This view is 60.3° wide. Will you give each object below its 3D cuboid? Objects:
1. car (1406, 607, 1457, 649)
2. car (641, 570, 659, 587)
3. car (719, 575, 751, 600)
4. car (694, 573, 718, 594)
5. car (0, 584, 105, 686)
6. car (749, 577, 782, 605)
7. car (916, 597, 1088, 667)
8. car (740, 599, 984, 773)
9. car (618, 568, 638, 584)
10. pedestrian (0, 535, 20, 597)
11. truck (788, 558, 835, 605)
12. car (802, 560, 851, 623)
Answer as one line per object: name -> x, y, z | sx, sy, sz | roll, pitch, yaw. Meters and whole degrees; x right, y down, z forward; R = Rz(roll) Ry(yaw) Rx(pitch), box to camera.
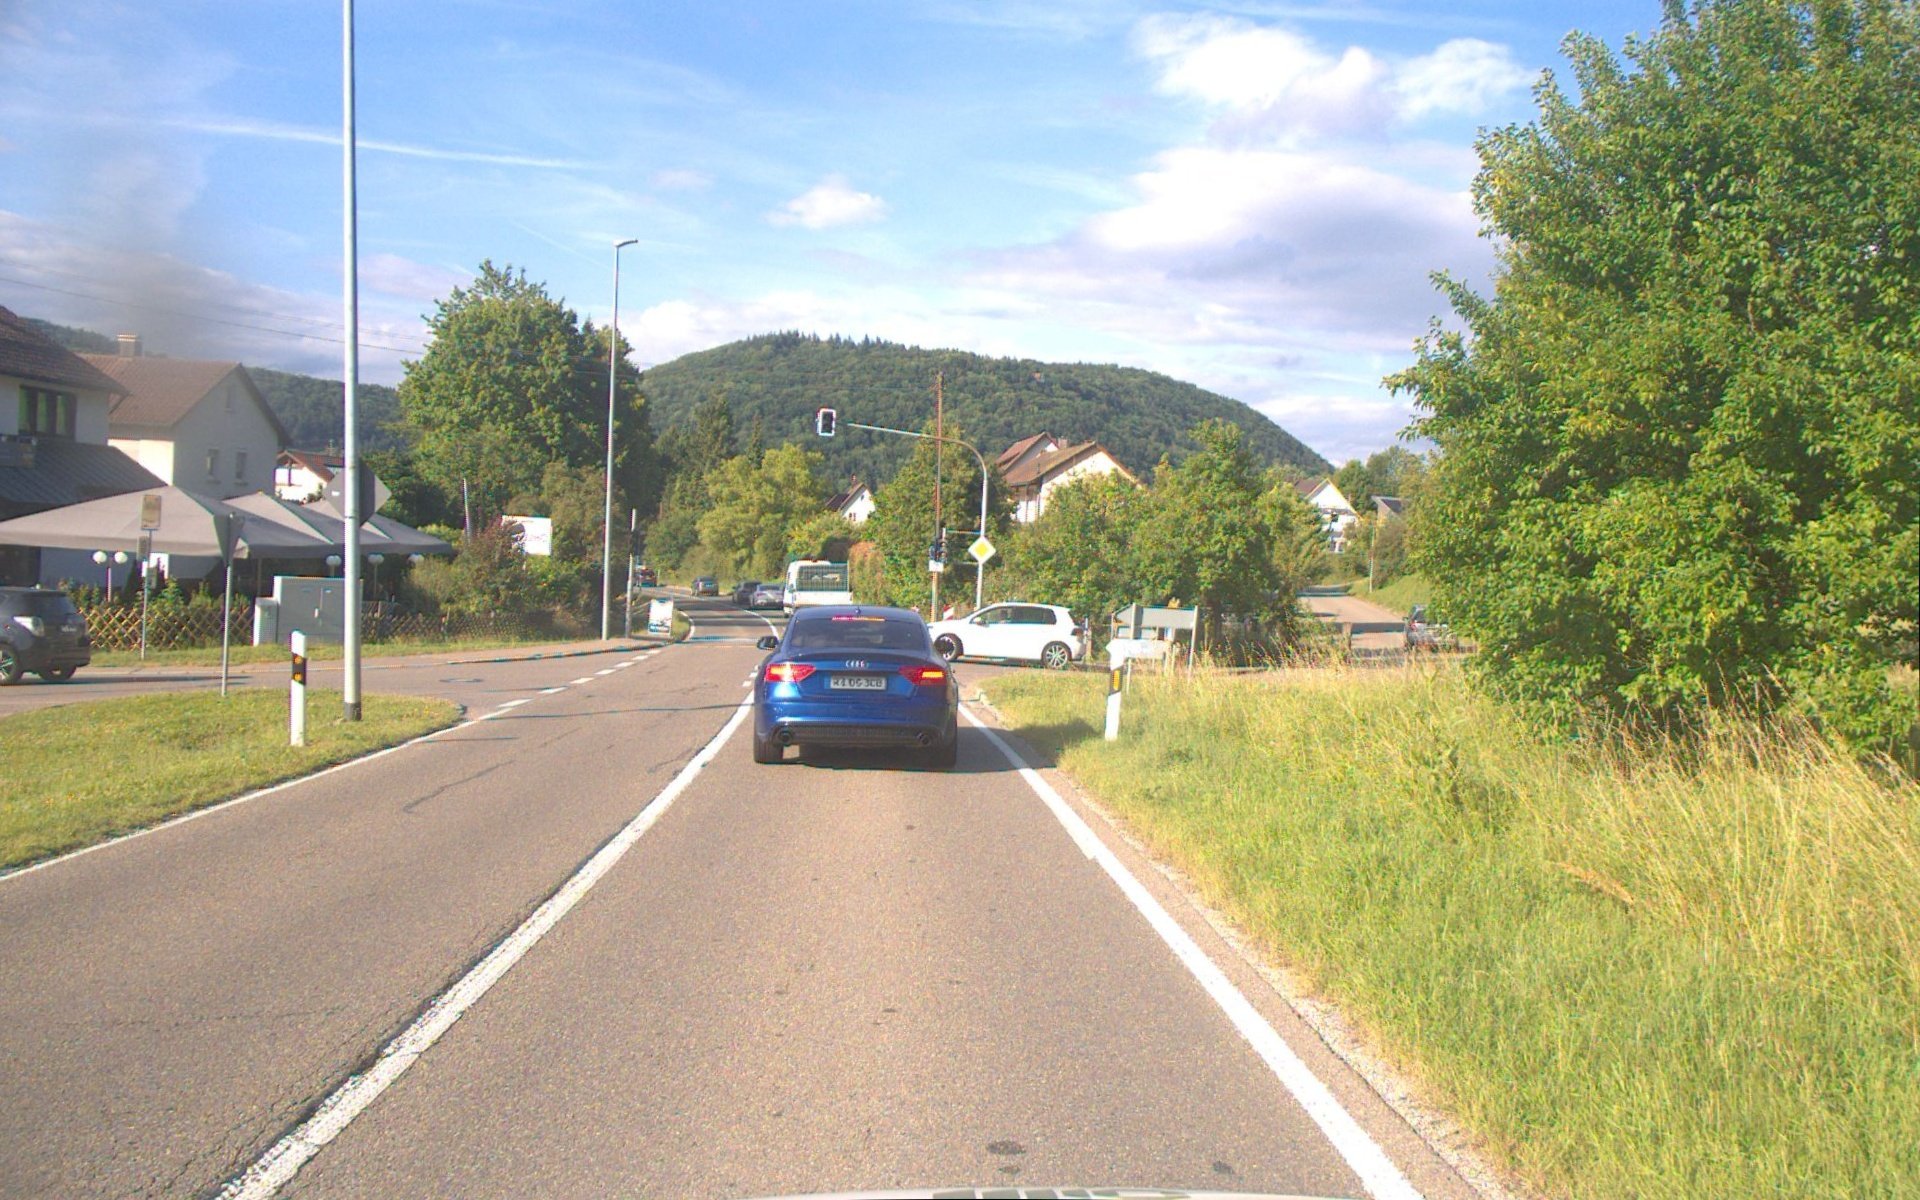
car -> 16.579, 0.979, 58.248 | 1.589, 1.414, 4.003 | 1, -1, 14
car -> -29.768, -2.057, 158.736 | 1.596, 1.604, 3.671 | 1, -1, -10
car -> -14.159, -0.759, 103.825 | 1.668, 1.516, 3.515 | 1, -1, -13
car -> -18.863, -1.203, 122.908 | 1.665, 1.516, 3.521 | 1, -1, -7
car -> -16.819, 0.557, 27.825 | 3.907, 1.668, 1.751 | 1, -1, -3
car -> -10.850, -0.490, 92.273 | 1.666, 1.516, 3.519 | 1, -1, -9
car -> 0.950, 0.748, 39.083 | 3.963, 1.534, 1.854 | 1, -1, -2
car -> -0.774, 0.725, 15.498 | 1.757, 1.412, 4.002 | 0, -1, 4
car -> -34.079, -2.462, 169.780 | 1.657, 1.463, 3.665 | 1, -1, -7
pedestrian -> -24.159, -0.849, 41.651 | 0.596, 1.529, 0.590 | 1, -1, 0
truck -> -6.731, -0.781, 74.593 | 1.666, 1.988, 5.909 | 1, -1, -9
car -> -4.938, -0.289, 61.349 | 1.712, 2.234, 3.996 | 1, -1, -4
